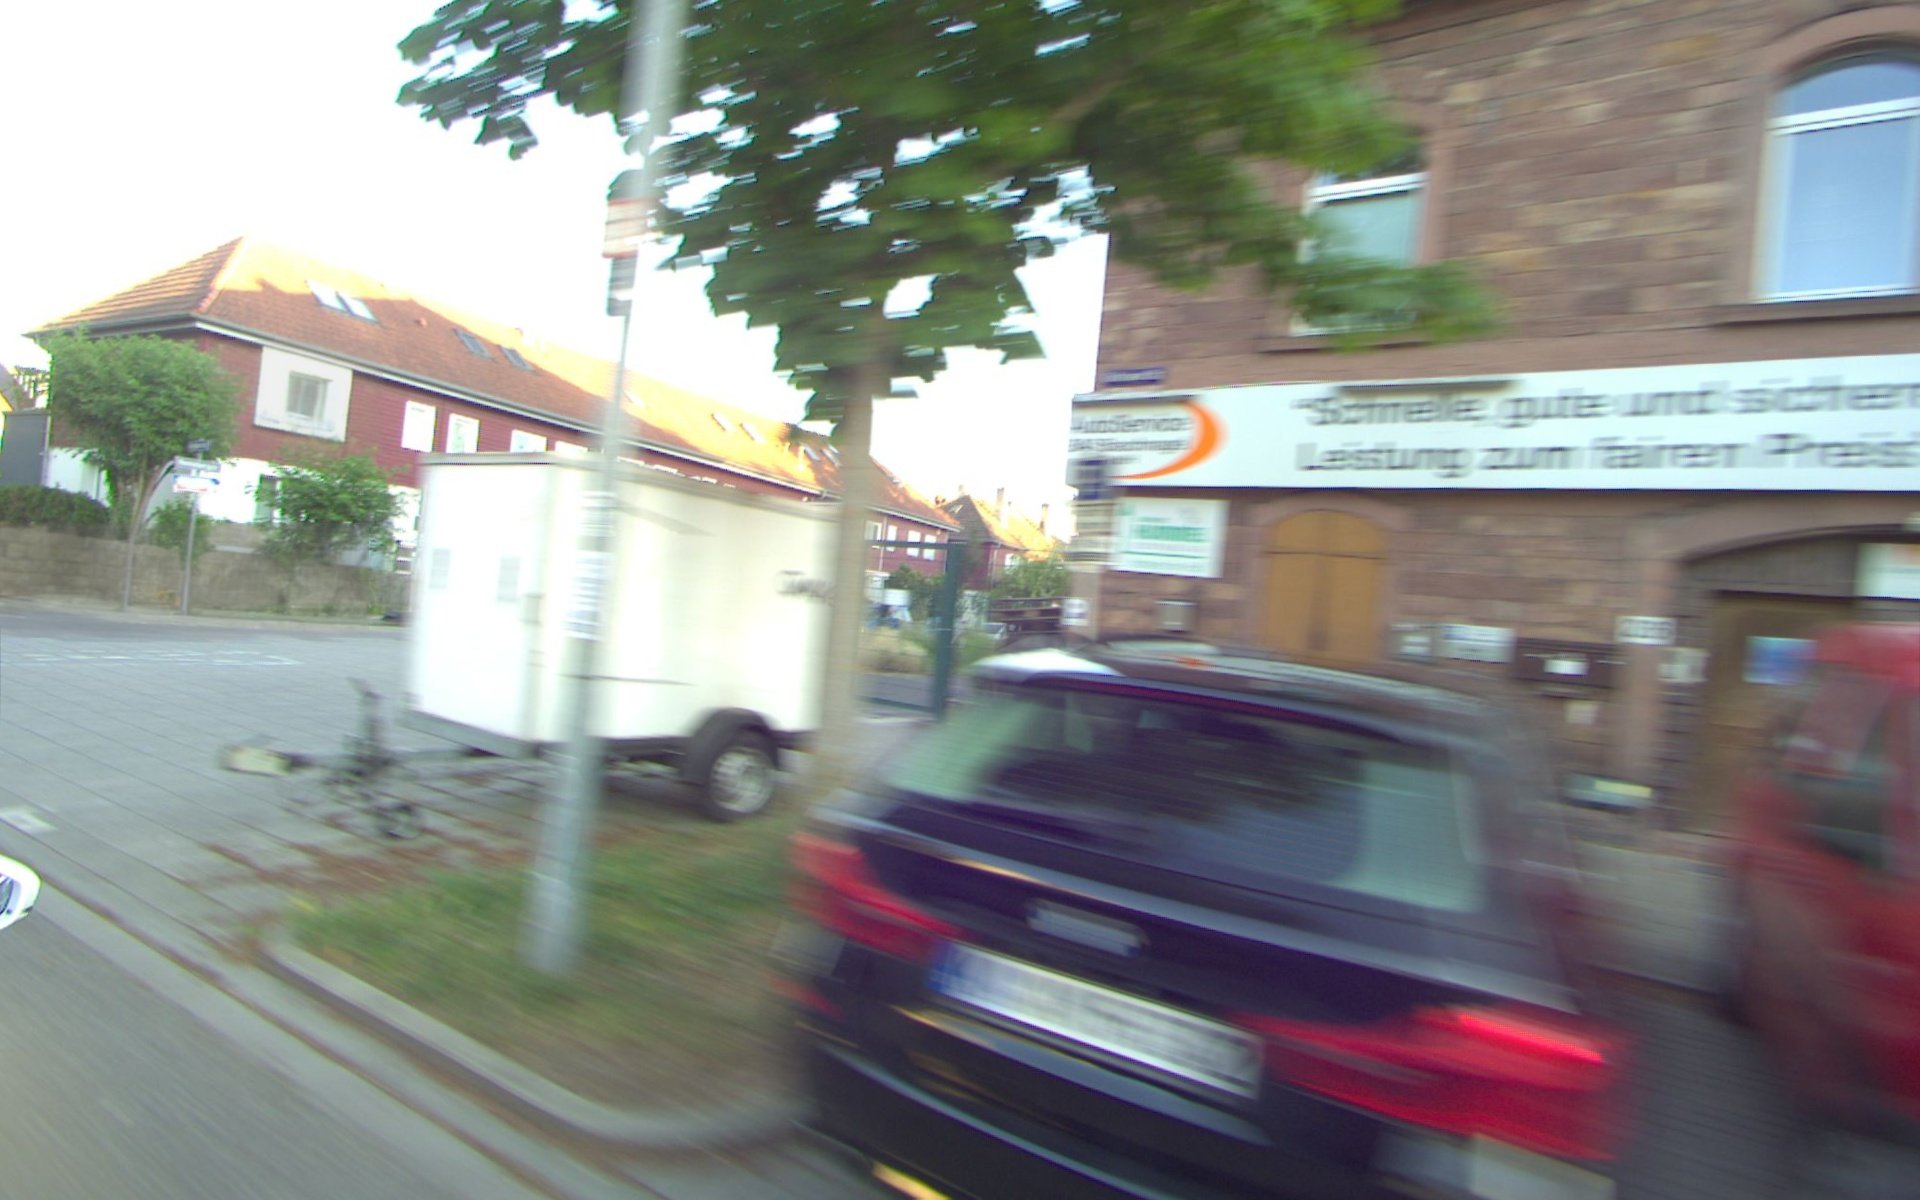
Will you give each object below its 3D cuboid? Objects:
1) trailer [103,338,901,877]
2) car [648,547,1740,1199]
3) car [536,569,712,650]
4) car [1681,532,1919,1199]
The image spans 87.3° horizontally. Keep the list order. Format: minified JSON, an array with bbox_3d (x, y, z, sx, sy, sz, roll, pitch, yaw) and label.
[{"bbox_3d":[-2.414,0.135,6.338,1.967,2.213,3.993,5,-2,32],"label":"trailer"},{"bbox_3d":[1.281,0.904,3.570,1.744,1.516,4.434,5,-2,32],"label":"car"},{"bbox_3d":[-8.705,0.300,26.392,1.966,1.682,3.996,5,-2,29],"label":"car"},{"bbox_3d":[3.526,0.959,2.914,1.873,1.820,4.308,5,-2,32],"label":"car"}]
